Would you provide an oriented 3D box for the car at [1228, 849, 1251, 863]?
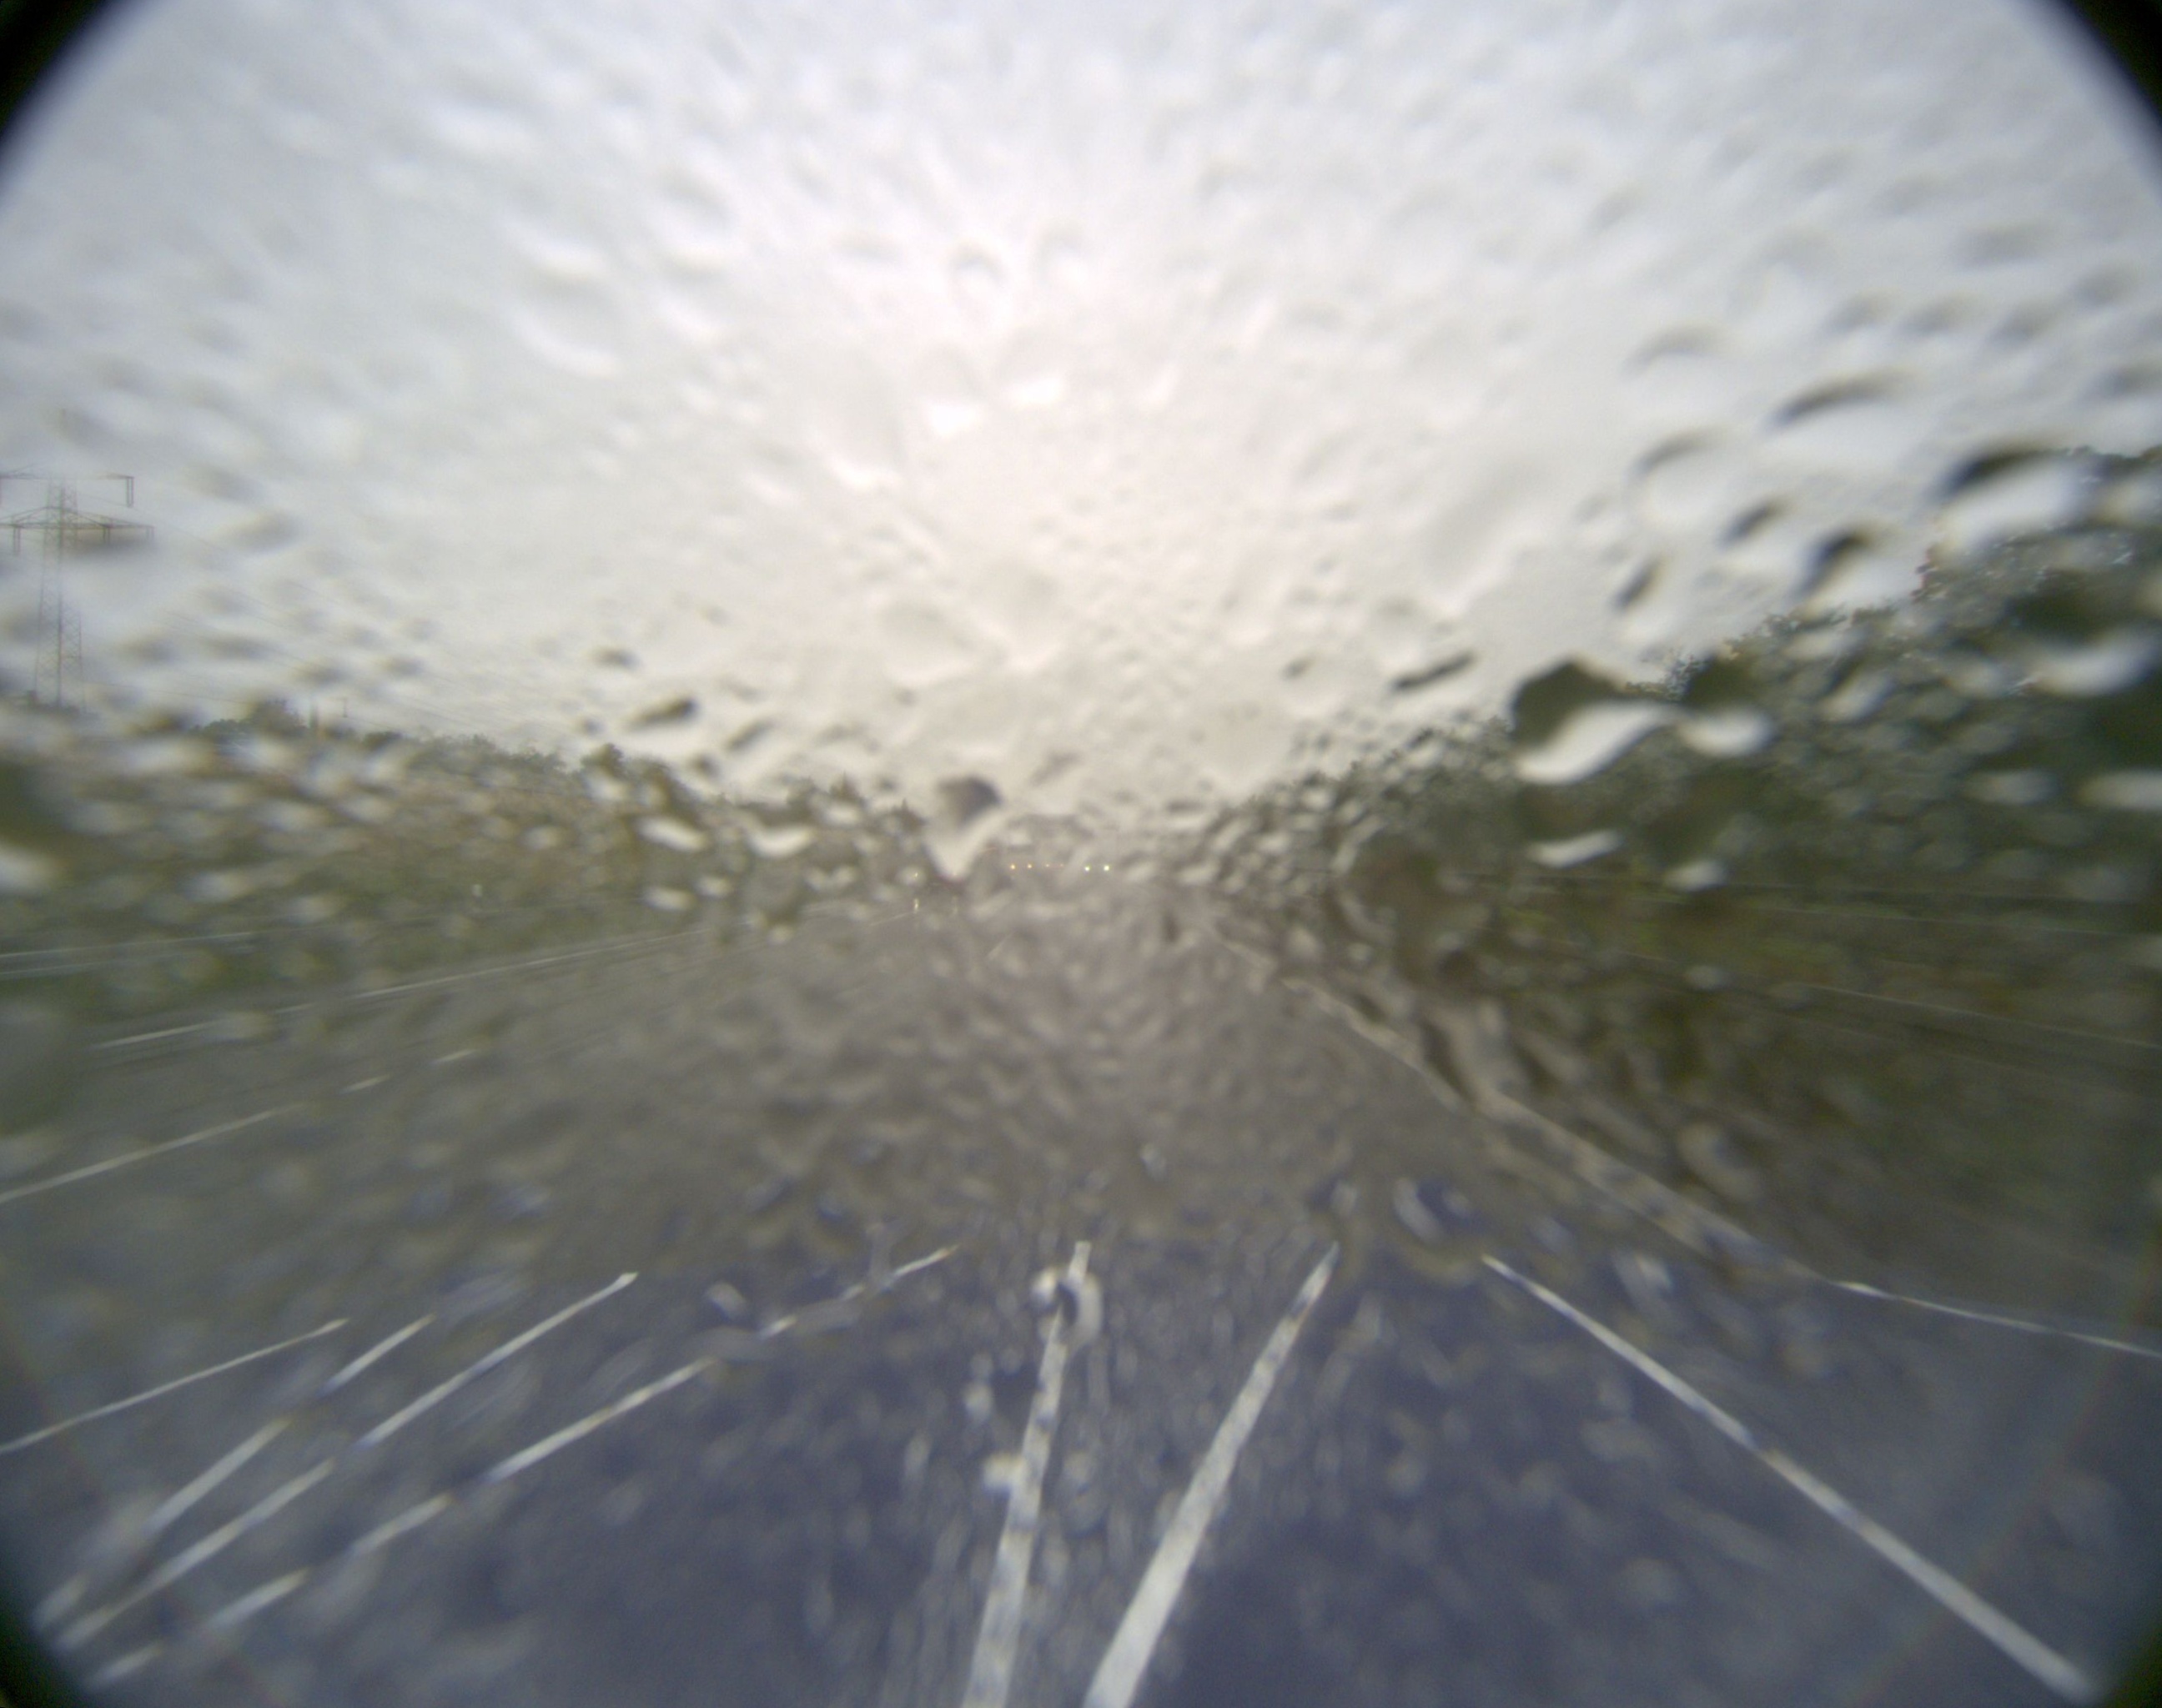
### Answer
[{"bbox_3d":[20.113,0.187,96.659,1.738,1.653,4.663,-2,1,-1],"label":"car"}]

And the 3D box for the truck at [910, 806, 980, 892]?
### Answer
[{"bbox_3d":[-6.754,-0.199,38.387,2.503,3.959,5.076,-2,-1,0],"label":"truck"}]

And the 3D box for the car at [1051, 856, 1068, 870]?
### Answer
[{"bbox_3d":[-2.309,0.970,83.068,1.663,1.491,3.837,-2,-1,1],"label":"car"}]

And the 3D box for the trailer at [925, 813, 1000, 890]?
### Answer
[{"bbox_3d":[-6.685,-0.012,44.507,2.503,3.859,11.068,-2,-1,0],"label":"trailer"}]

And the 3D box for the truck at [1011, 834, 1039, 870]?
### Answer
[{"bbox_3d":[-6.379,-0.120,86.811,2.457,3.865,6.200,-2,-1,1],"label":"truck"}]

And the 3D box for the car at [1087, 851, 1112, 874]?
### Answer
[{"bbox_3d":[1.457,0.710,61.084,1.845,1.670,4.001,-2,-1,0],"label":"car"}]
